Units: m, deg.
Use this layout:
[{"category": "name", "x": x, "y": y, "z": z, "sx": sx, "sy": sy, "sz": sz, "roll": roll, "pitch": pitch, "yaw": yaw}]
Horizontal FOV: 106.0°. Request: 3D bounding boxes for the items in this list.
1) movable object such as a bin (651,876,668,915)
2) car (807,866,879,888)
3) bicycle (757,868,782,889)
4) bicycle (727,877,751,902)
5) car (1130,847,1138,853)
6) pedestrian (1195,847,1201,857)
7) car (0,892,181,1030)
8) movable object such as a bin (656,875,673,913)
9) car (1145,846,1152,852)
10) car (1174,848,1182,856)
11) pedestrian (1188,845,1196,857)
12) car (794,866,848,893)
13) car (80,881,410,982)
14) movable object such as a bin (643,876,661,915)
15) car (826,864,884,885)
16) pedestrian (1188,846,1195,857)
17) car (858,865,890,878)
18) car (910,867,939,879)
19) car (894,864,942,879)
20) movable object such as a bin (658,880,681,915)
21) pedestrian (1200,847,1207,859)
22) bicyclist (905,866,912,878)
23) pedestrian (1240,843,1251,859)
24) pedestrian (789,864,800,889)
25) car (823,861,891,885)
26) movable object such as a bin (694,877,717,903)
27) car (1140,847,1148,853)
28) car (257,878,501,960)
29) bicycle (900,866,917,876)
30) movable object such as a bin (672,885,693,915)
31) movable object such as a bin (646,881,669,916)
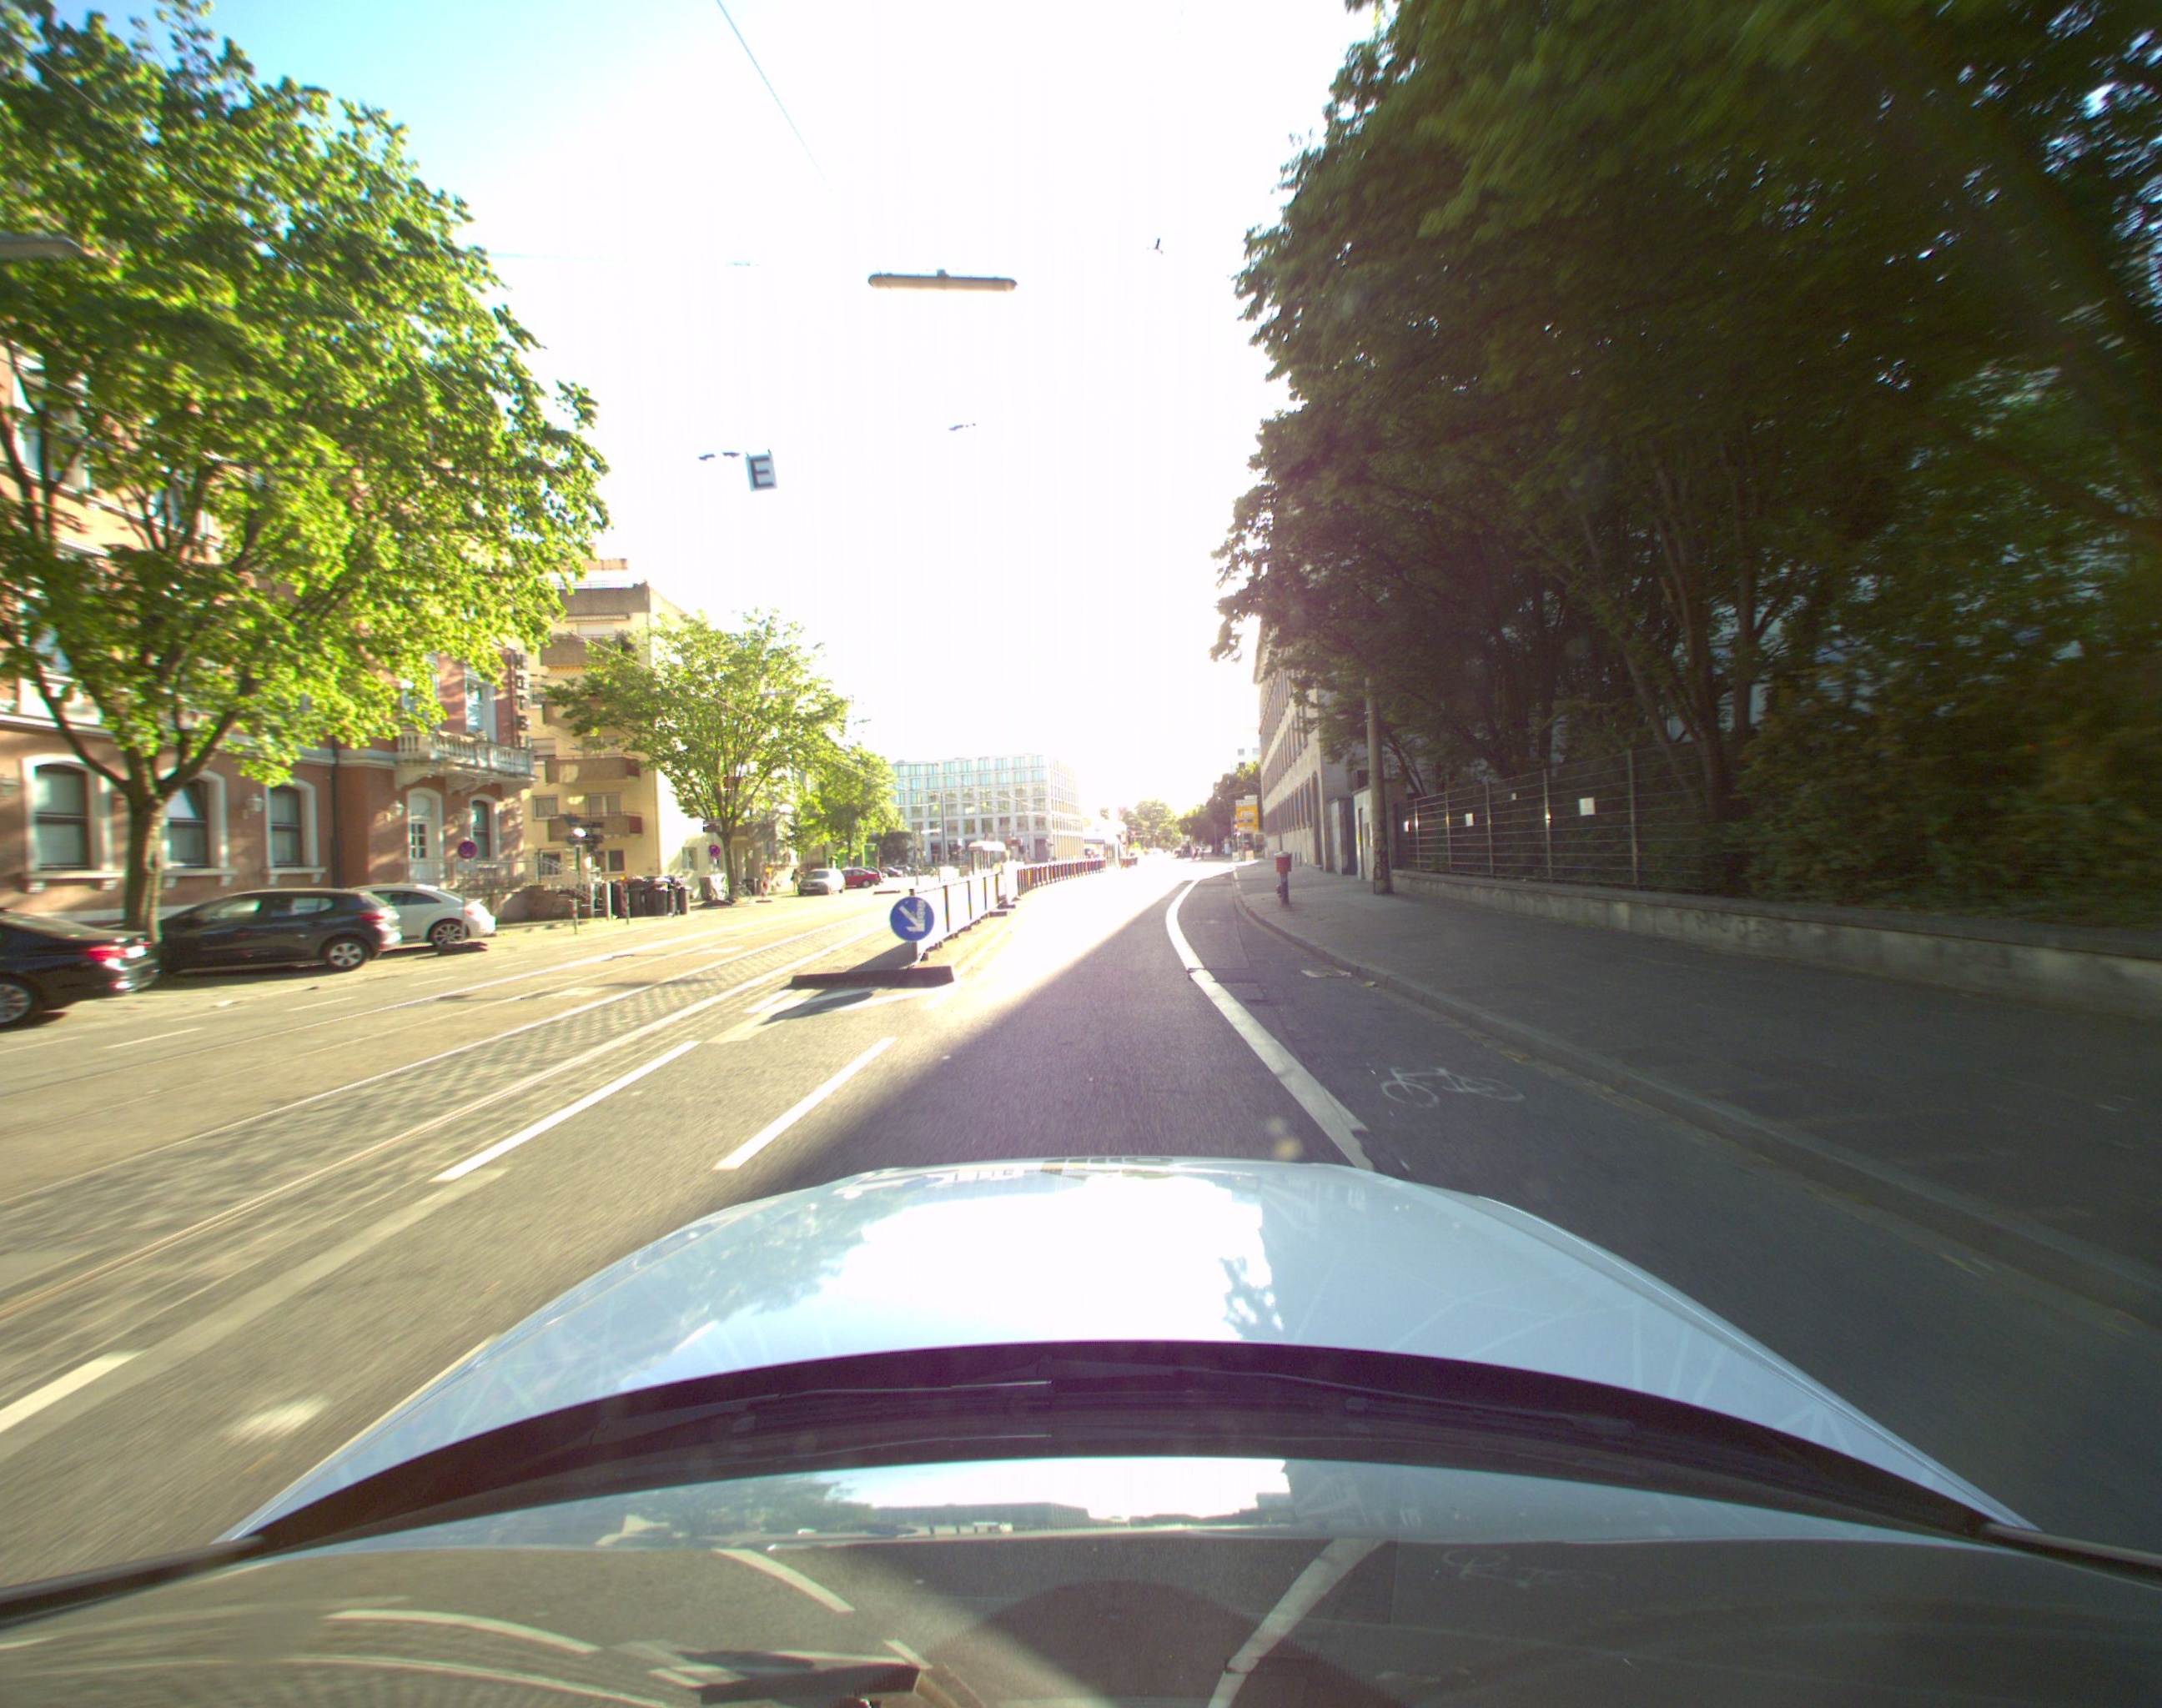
[{"category": "movable object such as a bin", "x": -15.884, "y": 1.568, "z": 30.695, "sx": 0.377, "sy": 1.427, "sz": 0.387, "roll": -3, "pitch": -1, "yaw": 9}, {"category": "car", "x": -16.776, "y": 1.611, "z": 57.393, "sx": 4.531, "sy": 1.426, "sz": 1.854, "roll": -1, "pitch": -1, "yaw": -32}, {"category": "bicycle", "x": -21.712, "y": 1.679, "z": 56.856, "sx": 0.715, "sy": 1.398, "sz": 3.006, "roll": -3, "pitch": 0, "yaw": -4}, {"category": "bicycle", "x": -15.947, "y": 1.650, "z": 38.021, "sx": 0.262, "sy": 1.116, "sz": 1.409, "roll": -3, "pitch": 0, "yaw": 9}, {"category": "car", "x": 14.734, "y": -1.144, "z": 227.036, "sx": 1.808, "sy": 1.712, "sz": 3.816, "roll": -3, "pitch": 0, "yaw": 10}, {"category": "pedestrian", "x": 18.334, "y": -0.278, "z": 127.241, "sx": 0.761, "sy": 1.558, "sz": 0.586, "roll": -3, "pitch": 0, "yaw": -6}, {"category": "car", "x": -14.454, "y": 1.379, "z": 10.218, "sx": 4.005, "sy": 1.617, "sz": 1.616, "roll": 0, "pitch": -1, "yaw": -38}, {"category": "movable object such as a bin", "x": -15.884, "y": 1.531, "z": 31.075, "sx": 0.377, "sy": 1.427, "sz": 0.389, "roll": -3, "pitch": -1, "yaw": 9}, {"category": "car", "x": 20.138, "y": -1.432, "z": 242.141, "sx": 1.600, "sy": 1.498, "sz": 3.816, "roll": -3, "pitch": 0, "yaw": 10}, {"category": "car", "x": 22.281, "y": -0.434, "z": 186.550, "sx": 1.674, "sy": 1.737, "sz": 3.518, "roll": -1, "pitch": -1, "yaw": 10}, {"category": "pedestrian", "x": 17.113, "y": -0.448, "z": 125.102, "sx": 0.965, "sy": 1.784, "sz": 0.778, "roll": -3, "pitch": 0, "yaw": -6}, {"category": "car", "x": -15.187, "y": 1.476, "z": 47.806, "sx": 1.700, "sy": 1.410, "sz": 4.293, "roll": -1, "pitch": 0, "yaw": 1}, {"category": "car", "x": -14.922, "y": 1.311, "z": 14.893, "sx": 3.938, "sy": 1.508, "sz": 1.671, "roll": 0, "pitch": 0, "yaw": -35}, {"category": "movable object such as a bin", "x": -15.940, "y": 1.546, "z": 30.236, "sx": 0.377, "sy": 1.427, "sz": 0.389, "roll": -3, "pitch": -1, "yaw": 9}, {"category": "car", "x": -18.862, "y": 1.711, "z": 68.075, "sx": 4.520, "sy": 1.570, "sz": 1.578, "roll": -1, "pitch": -1, "yaw": -23}, {"category": "pedestrian", "x": 17.284, "y": -0.370, "z": 127.213, "sx": 0.846, "sy": 1.784, "sz": 0.778, "roll": -3, "pitch": 0, "yaw": -6}, {"category": "car", "x": -25.910, "y": 2.175, "z": 102.200, "sx": 3.510, "sy": 1.506, "sz": 1.526, "roll": -2, "pitch": 0, "yaw": 8}, {"category": "car", "x": -21.214, "y": 2.587, "z": 110.564, "sx": 3.510, "sy": 1.506, "sz": 1.526, "roll": -2, "pitch": 0, "yaw": 8}, {"category": "car", "x": -16.189, "y": 1.737, "z": 80.935, "sx": 4.520, "sy": 1.350, "sz": 1.578, "roll": -1, "pitch": -1, "yaw": -23}, {"category": "movable object such as a bin", "x": -15.203, "y": 1.585, "z": 30.098, "sx": 0.377, "sy": 1.242, "sz": 0.641, "roll": -3, "pitch": -1, "yaw": 9}, {"category": "pedestrian", "x": 18.935, "y": -0.101, "z": 126.180, "sx": 0.846, "sy": 1.784, "sz": 0.778, "roll": -3, "pitch": 0, "yaw": -6}, {"category": "bicyclist", "x": -22.134, "y": 2.296, "z": 104.433, "sx": 0.615, "sy": 1.582, "sz": 0.595, "roll": -3, "pitch": 0, "yaw": 4}, {"category": "pedestrian", "x": 19.193, "y": -0.332, "z": 95.123, "sx": 1.036, "sy": 1.721, "sz": 1.035, "roll": -3, "pitch": 0, "yaw": -1}, {"category": "pedestrian", "x": -19.620, "y": 1.537, "z": 55.725, "sx": 0.509, "sy": 1.671, "sz": 0.490, "roll": -3, "pitch": 0, "yaw": 2}, {"category": "car", "x": -16.576, "y": 1.402, "z": 60.338, "sx": 4.535, "sy": 1.642, "sz": 1.572, "roll": -1, "pitch": -1, "yaw": -36}, {"category": "movable object such as a bin", "x": -17.219, "y": 1.660, "z": 37.385, "sx": 0.423, "sy": 1.126, "sz": 1.148, "roll": -3, "pitch": -1, "yaw": 3}, {"category": "car", "x": 18.446, "y": -1.146, "z": 238.336, "sx": 1.808, "sy": 1.712, "sz": 3.816, "roll": -3, "pitch": 0, "yaw": 10}, {"category": "car", "x": -15.336, "y": 1.338, "z": 18.034, "sx": 3.936, "sy": 1.522, "sz": 1.715, "roll": 0, "pitch": 0, "yaw": -40}, {"category": "bicycle", "x": -22.161, "y": 2.145, "z": 104.439, "sx": 1.914, "sy": 1.122, "sz": 0.791, "roll": -3, "pitch": 0, "yaw": 4}, {"category": "movable object such as a bin", "x": -15.094, "y": 1.733, "z": 30.844, "sx": 0.377, "sy": 1.068, "sz": 0.641, "roll": -3, "pitch": 0, "yaw": 9}, {"category": "movable object such as a bin", "x": -15.315, "y": 1.615, "z": 29.445, "sx": 0.377, "sy": 1.203, "sz": 0.641, "roll": -3, "pitch": -1, "yaw": 9}]
